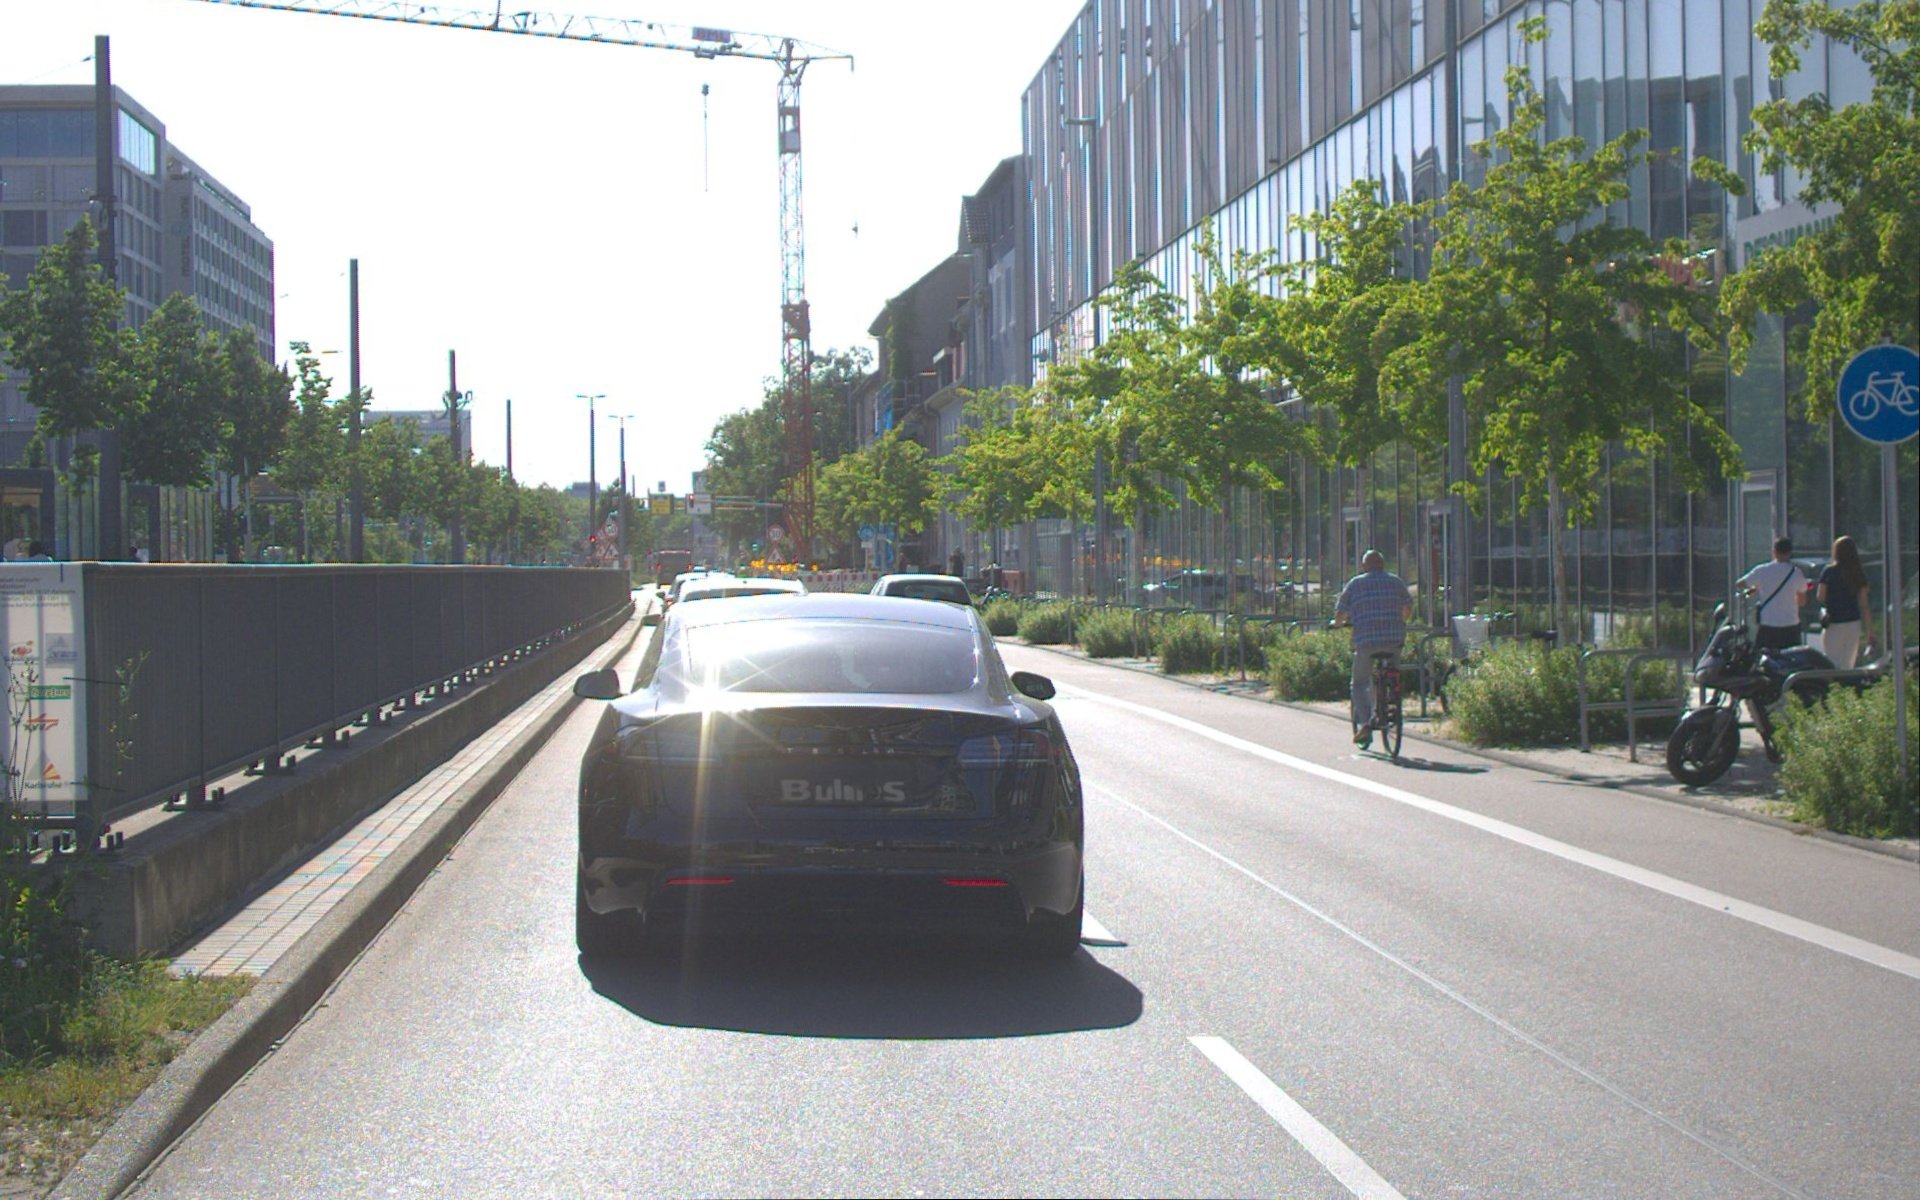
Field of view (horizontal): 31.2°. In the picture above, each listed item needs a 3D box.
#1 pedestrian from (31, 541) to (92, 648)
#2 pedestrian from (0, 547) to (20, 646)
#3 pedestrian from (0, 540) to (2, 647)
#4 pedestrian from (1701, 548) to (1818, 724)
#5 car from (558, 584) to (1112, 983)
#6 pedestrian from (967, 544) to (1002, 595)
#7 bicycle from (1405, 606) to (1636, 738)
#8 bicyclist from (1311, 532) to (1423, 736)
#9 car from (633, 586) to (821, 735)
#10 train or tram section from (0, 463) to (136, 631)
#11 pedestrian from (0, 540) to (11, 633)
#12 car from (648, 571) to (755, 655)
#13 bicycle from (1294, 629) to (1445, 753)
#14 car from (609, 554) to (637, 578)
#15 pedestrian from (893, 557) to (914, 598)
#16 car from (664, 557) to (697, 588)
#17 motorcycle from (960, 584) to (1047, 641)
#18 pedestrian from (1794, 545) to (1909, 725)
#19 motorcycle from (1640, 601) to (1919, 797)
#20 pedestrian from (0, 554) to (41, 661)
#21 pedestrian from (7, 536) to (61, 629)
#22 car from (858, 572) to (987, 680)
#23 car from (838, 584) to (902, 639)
[{"bbox_3d":[-13.807,-0.089,52.871,0.741,1.623,0.861,0,0,-3],"label":"pedestrian"},{"bbox_3d":[-15.995,-0.060,56.702,0.741,1.623,0.947,0,0,-3],"label":"pedestrian"},{"bbox_3d":[-14.887,-0.092,51.730,0.741,1.623,0.861,0,0,-3],"label":"pedestrian"},{"bbox_3d":[7.604,0.332,32.722,0.820,1.652,0.900,0,0,-8],"label":"pedestrian"},{"bbox_3d":[-0.527,0.691,14.751,1.999,1.429,4.412,1,-1,-2],"label":"car"},{"bbox_3d":[0.887,-1.117,125.051,1.095,1.857,1.523,0,1,-5],"label":"pedestrian"},{"bbox_3d":[5.444,0.693,33.493,2.085,1.201,0.950,-2,0,3],"label":"bicycle"},{"bbox_3d":[3.529,0.289,29.855,0.724,1.731,0.998,-1,0,-7],"label":"bicyclist"},{"bbox_3d":[-2.240,0.541,33.367,1.716,1.315,4.001,0,1,-3],"label":"car"},{"bbox_3d":[-20.483,-1.113,71.518,2.870,3.268,22.146,1,0,-4],"label":"train or tram section"},{"bbox_3d":[-17.118,-0.243,60.294,0.741,1.623,0.861,0,0,-3],"label":"pedestrian"},{"bbox_3d":[-5.077,0.232,67.975,1.888,1.590,4.000,0,1,-1],"label":"car"},{"bbox_3d":[3.540,0.771,29.925,0.728,0.980,2.334,-2,0,-8],"label":"bicycle"},{"bbox_3d":[-24.208,-2.418,247.114,1.993,1.678,4.001,1,0,-5],"label":"car"},{"bbox_3d":[-2.575,-1.008,155.768,0.851,1.857,0.930,-1,0,-5],"label":"pedestrian"},{"bbox_3d":[-16.689,-1.653,205.257,1.813,1.803,4.039,0,1,-3],"label":"car"},{"bbox_3d":[1.117,0.318,88.250,2.074,1.349,0.652,-3,0,19],"label":"motorcycle"},{"bbox_3d":[8.454,0.323,32.630,0.706,1.652,0.900,-2,1,-8],"label":"pedestrian"},{"bbox_3d":[6.071,0.696,24.649,2.189,1.319,0.903,-1,0,0],"label":"motorcycle"},{"bbox_3d":[-14.589,0.117,52.787,0.741,1.623,0.861,0,0,-3],"label":"pedestrian"},{"bbox_3d":[-16.260,-0.312,60.357,0.741,1.623,0.861,0,0,-3],"label":"pedestrian"},{"bbox_3d":[-0.599,0.357,51.763,1.784,1.541,4.039,0,1,-3],"label":"car"},{"bbox_3d":[-2.726,0.330,104.659,1.888,1.590,4.000,0,1,-1],"label":"car"}]
